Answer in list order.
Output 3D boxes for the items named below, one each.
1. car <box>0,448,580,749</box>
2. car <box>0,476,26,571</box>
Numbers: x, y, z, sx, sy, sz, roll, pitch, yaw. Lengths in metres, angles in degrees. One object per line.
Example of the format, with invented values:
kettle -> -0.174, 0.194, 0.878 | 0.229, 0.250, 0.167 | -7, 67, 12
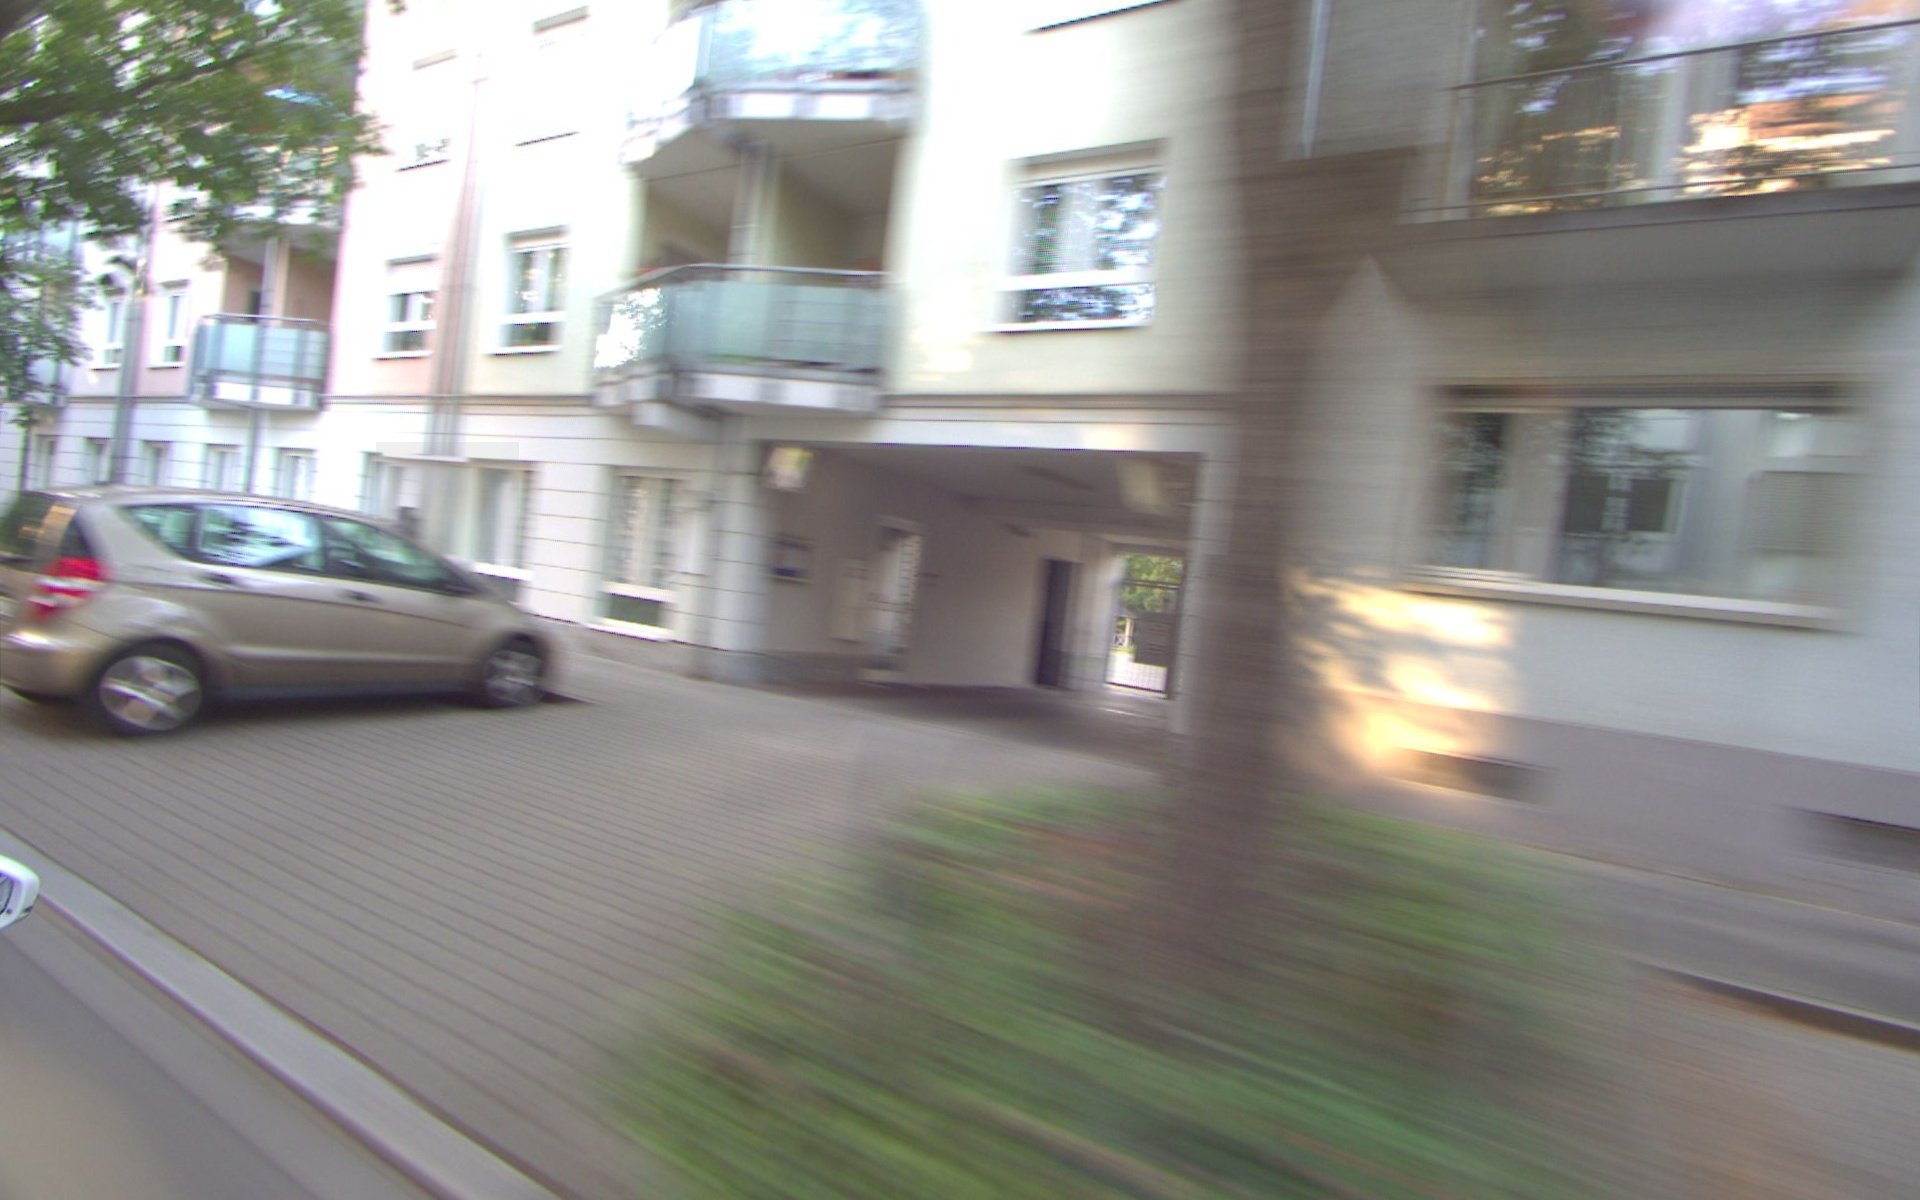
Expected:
car -> -5.200, -0.036, 7.674 | 1.894, 1.689, 3.863 | 7, 2, 31
car -> -16.847, -1.337, 14.904 | 1.880, 1.494, 3.990 | 7, 3, 28
